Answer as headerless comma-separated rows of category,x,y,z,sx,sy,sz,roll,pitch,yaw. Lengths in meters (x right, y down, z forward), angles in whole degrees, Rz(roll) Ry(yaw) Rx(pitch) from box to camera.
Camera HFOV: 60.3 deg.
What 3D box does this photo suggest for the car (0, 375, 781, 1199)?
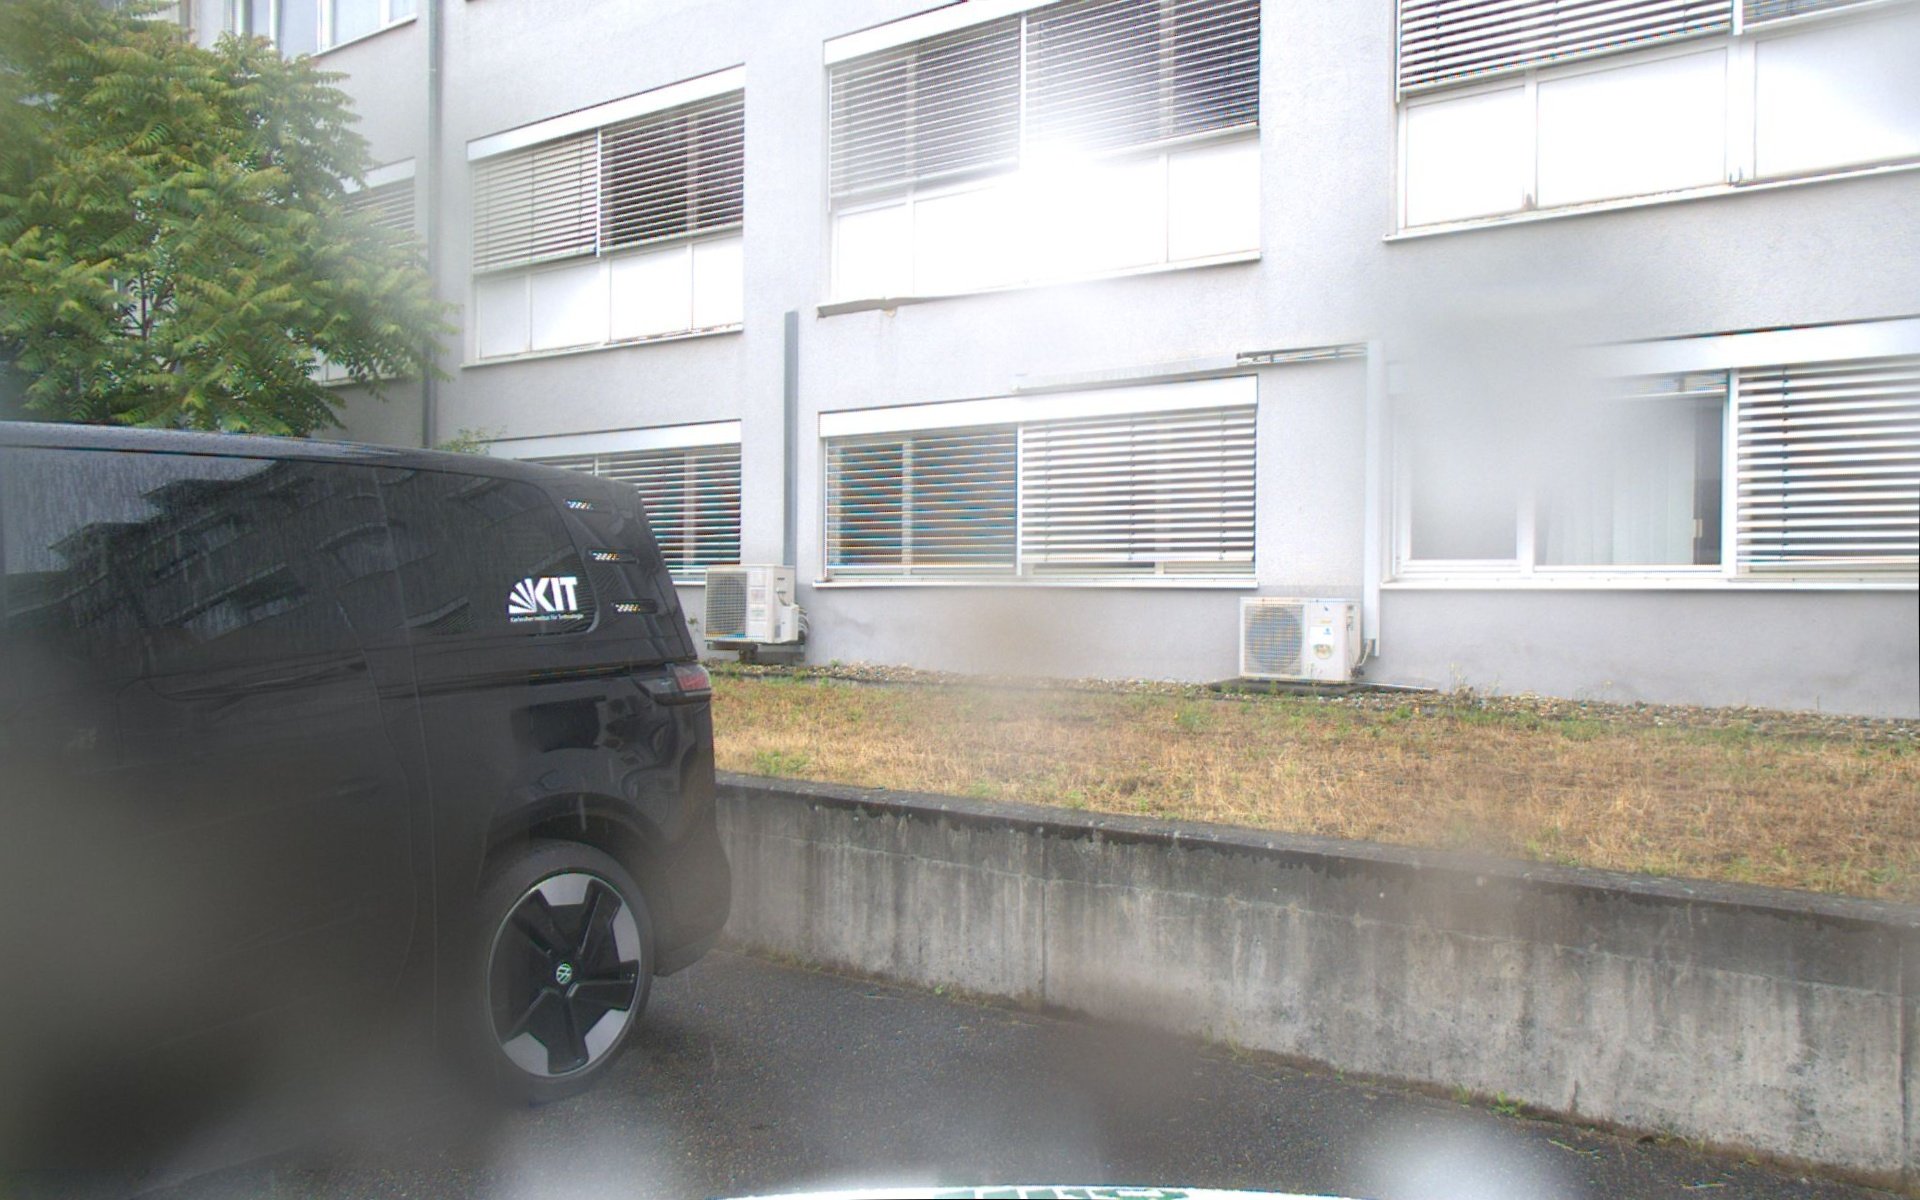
car,-2.714,0.506,4.118,2.006,1.930,4.504,-1,0,37
